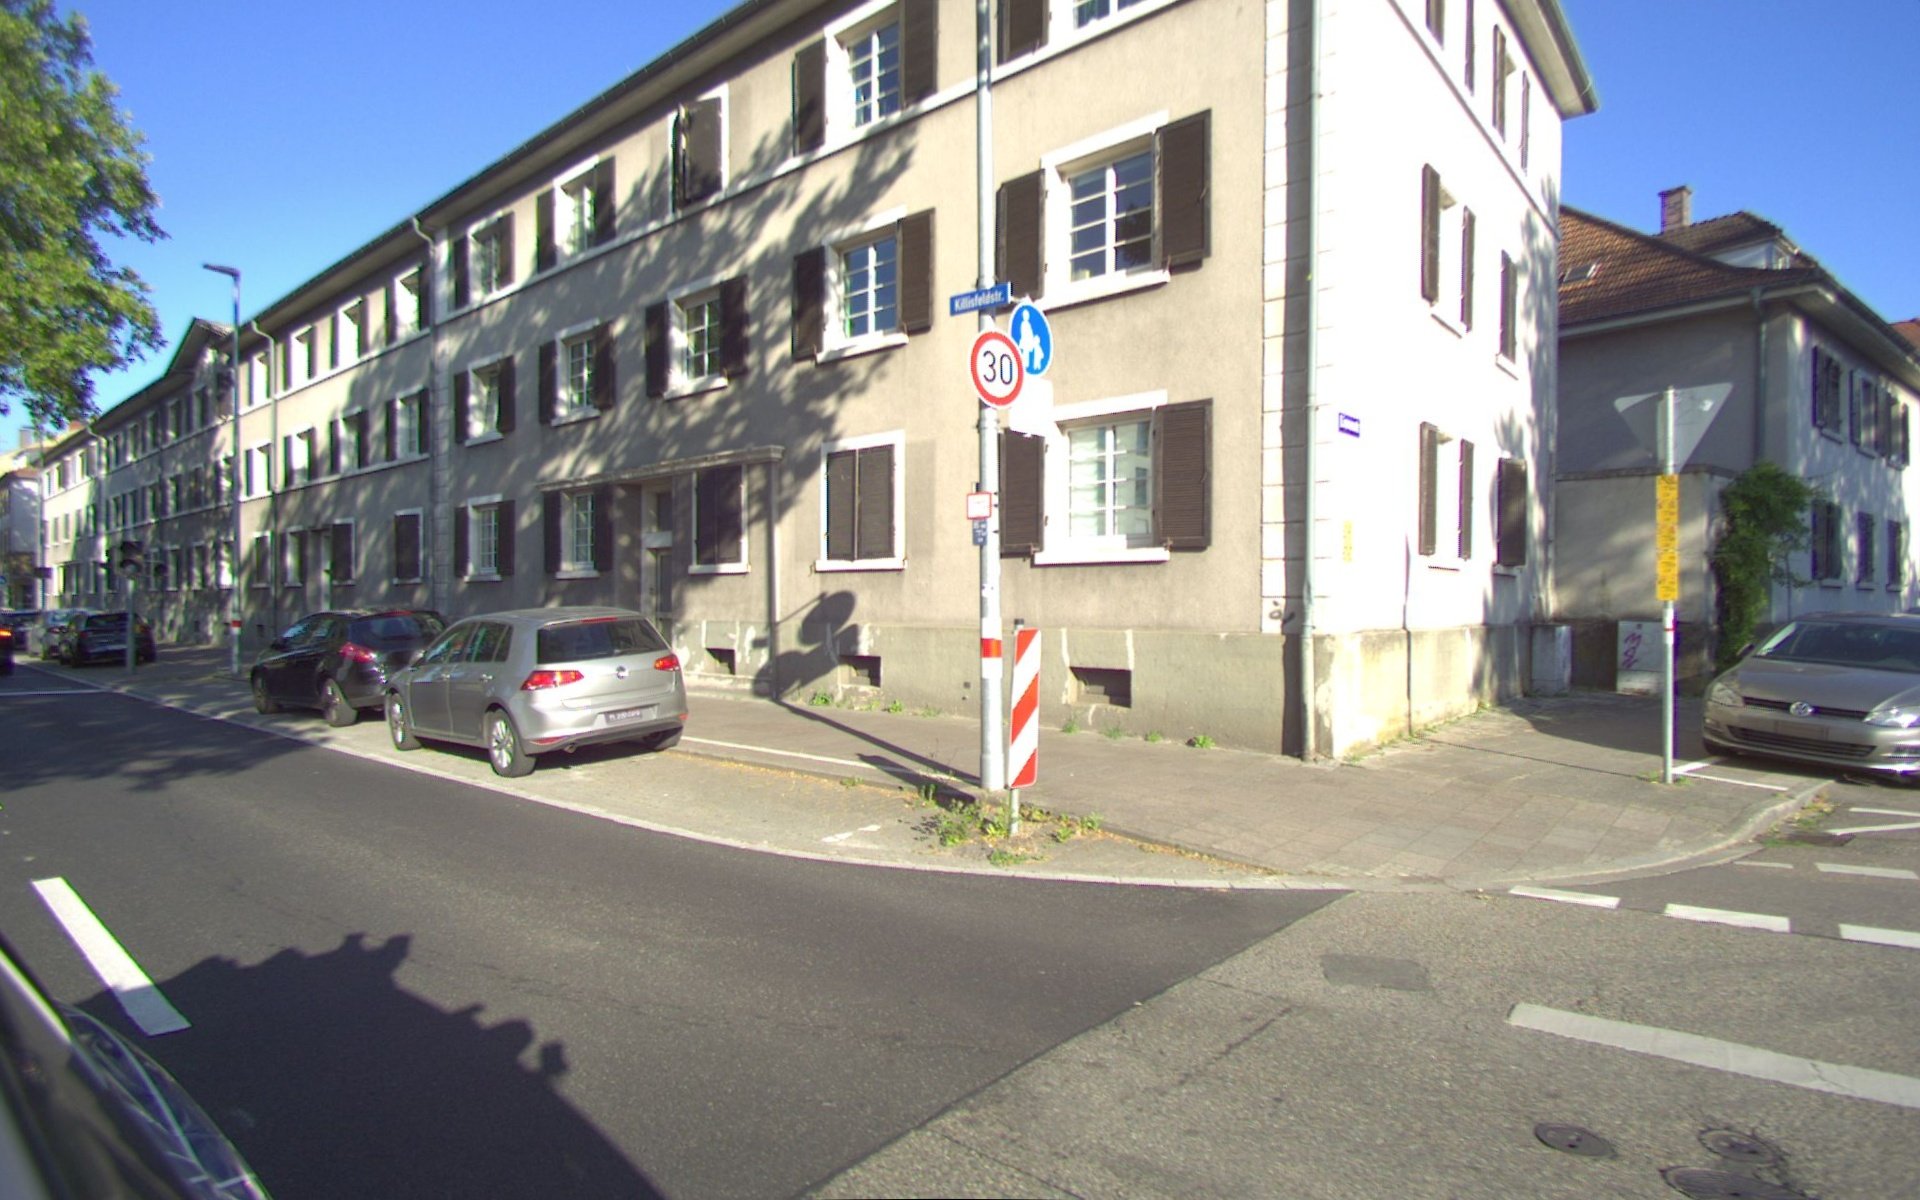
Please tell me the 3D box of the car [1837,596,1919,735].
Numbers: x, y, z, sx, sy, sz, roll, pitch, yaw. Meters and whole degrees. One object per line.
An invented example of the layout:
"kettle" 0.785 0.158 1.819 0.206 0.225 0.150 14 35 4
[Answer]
"car" 12.588 0.757 12.475 3.935 1.573 1.869 0 1 -37

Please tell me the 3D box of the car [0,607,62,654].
"car" -34.955 1.112 37.525 4.082 1.624 1.847 -1 0 39

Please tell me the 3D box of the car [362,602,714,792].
"car" -4.424 0.811 10.299 4.108 1.494 1.742 -1 1 43

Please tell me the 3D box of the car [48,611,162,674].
"car" -23.031 1.078 27.213 4.087 1.494 1.845 -1 2 43

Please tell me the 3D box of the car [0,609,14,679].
"car" -24.159 1.020 24.129 4.067 1.602 1.877 -1 -2 41

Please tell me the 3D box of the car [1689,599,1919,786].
"car" 8.885 0.750 9.726 3.935 1.429 1.919 0 2 -37

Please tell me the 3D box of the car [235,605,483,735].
"car" -8.469 0.867 14.134 4.050 1.518 1.689 -1 1 40

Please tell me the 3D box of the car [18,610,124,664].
"car" -27.445 1.093 31.205 4.084 1.494 1.846 -1 1 40
